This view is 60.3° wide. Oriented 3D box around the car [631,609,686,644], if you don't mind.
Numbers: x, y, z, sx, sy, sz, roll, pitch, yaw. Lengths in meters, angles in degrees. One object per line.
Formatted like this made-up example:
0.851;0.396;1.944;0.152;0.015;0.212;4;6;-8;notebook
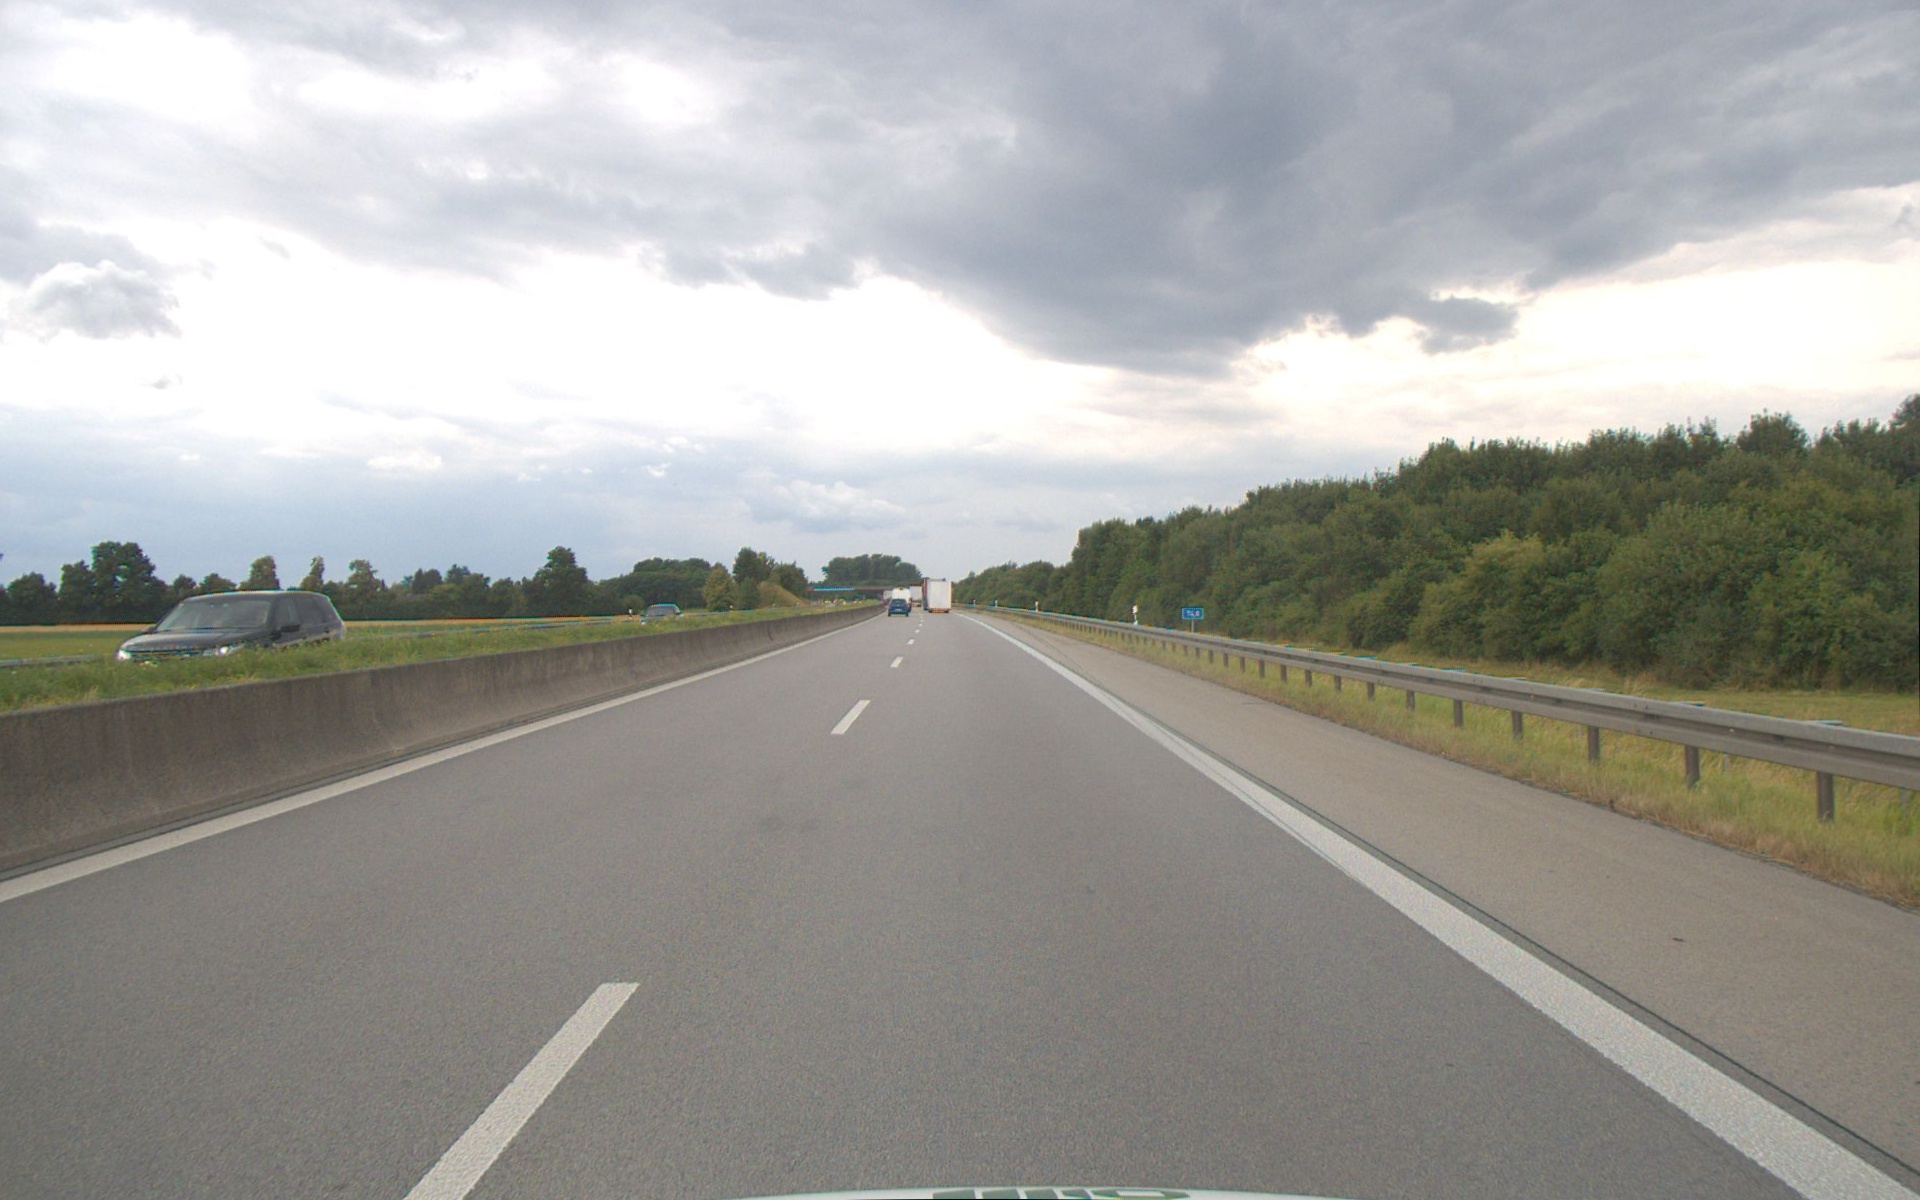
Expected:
-14.102;1.223;77.523;1.753;1.498;4.903;-2;0;-1;car

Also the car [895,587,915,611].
-5.892;-0.071;177.535;2.087;2.526;5.837;0;-1;-2;car

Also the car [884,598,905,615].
-5.345;0.534;135.239;1.630;1.432;3.646;0;0;-3;car

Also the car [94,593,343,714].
-10.145;0.669;22.978;1.654;1.518;4.182;0;0;-1;car

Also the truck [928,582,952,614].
-2.118;-0.192;172.382;2.366;3.279;7.140;0;-1;-2;truck
